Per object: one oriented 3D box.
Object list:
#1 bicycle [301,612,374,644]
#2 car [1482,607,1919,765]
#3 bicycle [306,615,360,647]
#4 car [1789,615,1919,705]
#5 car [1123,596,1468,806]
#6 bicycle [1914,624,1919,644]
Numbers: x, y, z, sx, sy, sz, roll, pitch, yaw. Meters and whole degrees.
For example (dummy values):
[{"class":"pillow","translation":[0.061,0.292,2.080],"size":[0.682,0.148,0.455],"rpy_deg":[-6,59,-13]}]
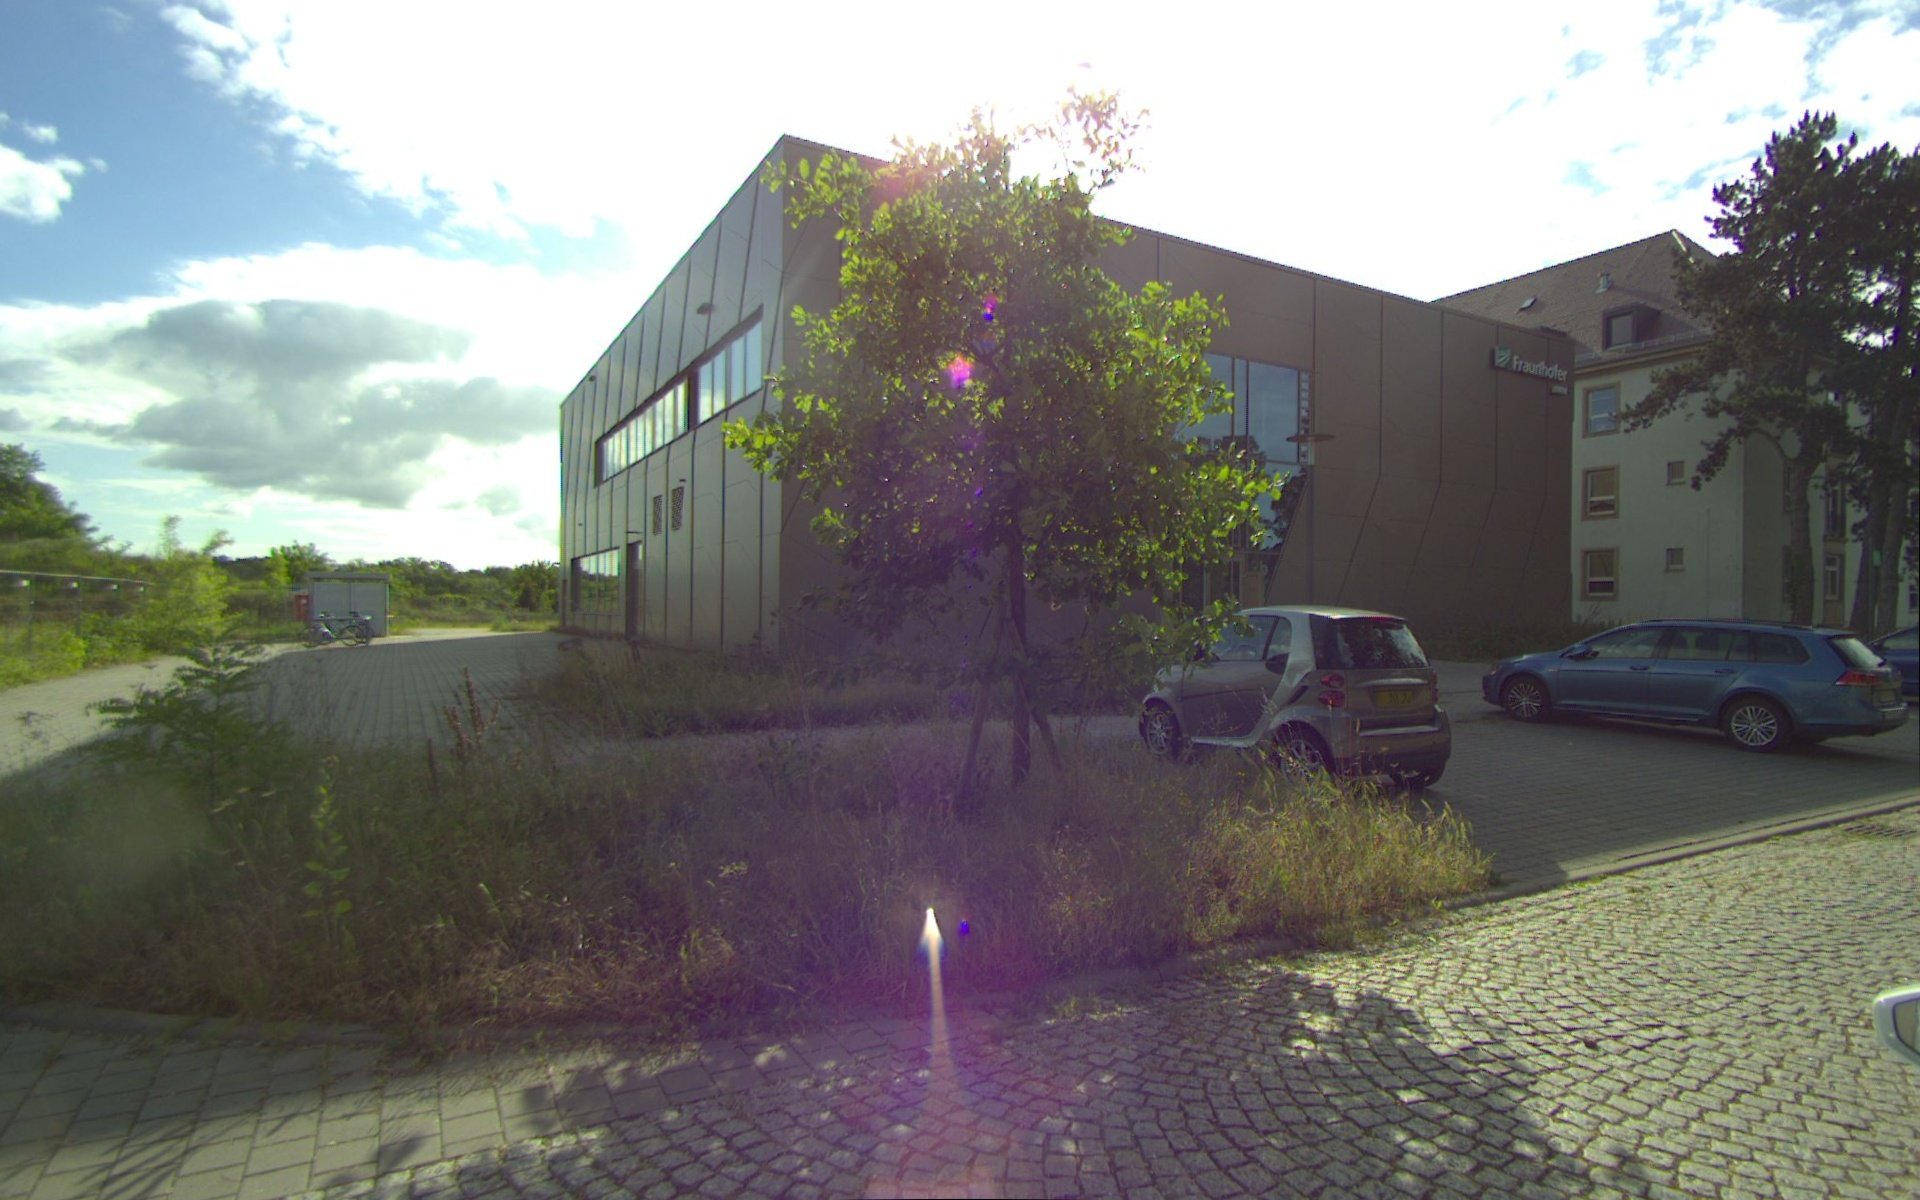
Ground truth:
[{"class":"bicycle","translation":[-20.244,0.900,32.710],"size":[1.942,0.982,0.837],"rpy_deg":[-2,1,-27]},{"class":"car","translation":[9.201,0.924,12.834],"size":[1.662,1.484,4.233],"rpy_deg":[-1,2,-32]},{"class":"bicycle","translation":[-19.189,0.944,30.782],"size":[1.339,0.912,0.515],"rpy_deg":[-1,1,-27]},{"class":"car","translation":[17.355,1.091,17.724],"size":[1.698,1.484,3.820],"rpy_deg":[1,1,-28]},{"class":"car","translation":[2.974,0.792,9.310],"size":[1.501,1.563,2.685],"rpy_deg":[1,1,-30]},{"class":"bicycle","translation":[53.046,1.848,54.864],"size":[2.099,1.061,0.822],"rpy_deg":[1,-1,-30]}]
